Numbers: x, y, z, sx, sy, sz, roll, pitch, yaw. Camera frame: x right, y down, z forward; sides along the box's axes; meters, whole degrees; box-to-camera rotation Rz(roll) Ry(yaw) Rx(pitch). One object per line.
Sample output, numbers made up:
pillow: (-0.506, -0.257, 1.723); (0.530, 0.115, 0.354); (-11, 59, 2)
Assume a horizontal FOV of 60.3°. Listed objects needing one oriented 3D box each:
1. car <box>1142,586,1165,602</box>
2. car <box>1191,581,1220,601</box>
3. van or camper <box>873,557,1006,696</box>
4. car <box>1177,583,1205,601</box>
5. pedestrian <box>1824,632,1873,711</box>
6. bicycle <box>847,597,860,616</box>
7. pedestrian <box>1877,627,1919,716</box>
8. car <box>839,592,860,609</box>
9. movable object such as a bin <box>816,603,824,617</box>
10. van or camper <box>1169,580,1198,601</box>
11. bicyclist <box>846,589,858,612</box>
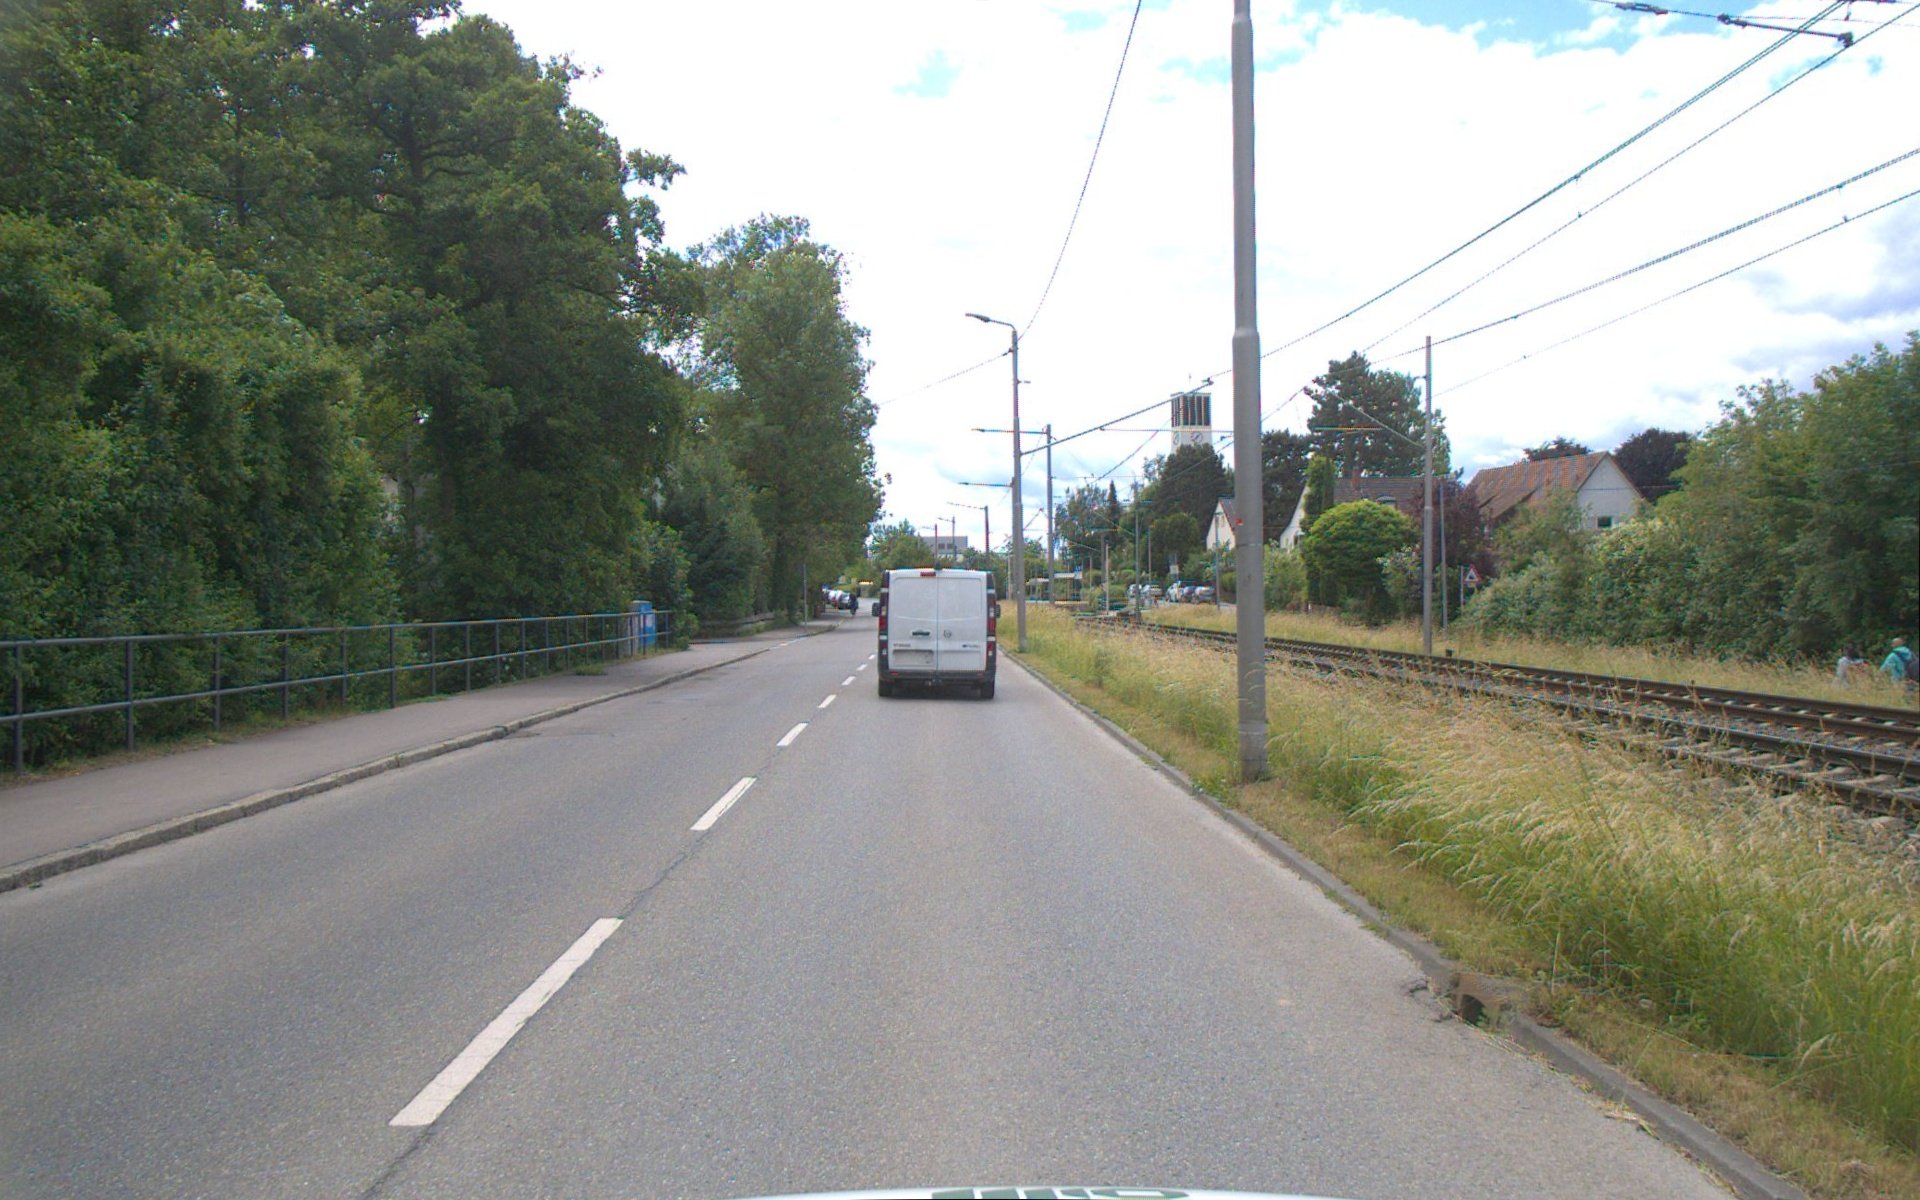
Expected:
car: (19.922, -0.630, 170.292); (1.845, 1.548, 4.000); (-1, 0, 0)
car: (20.423, -0.755, 137.651); (1.845, 1.548, 4.000); (-1, 0, 0)
van or camper: (-0.328, 0.402, 26.793); (1.953, 2.049, 4.445); (1, 0, -1)
car: (20.091, -0.677, 143.678); (1.845, 1.548, 4.000); (-1, 0, 0)
pedestrian: (16.858, 1.348, 31.396); (0.585, 1.455, 0.667); (1, 0, 3)
bicycle: (-7.351, 0.472, 113.862); (0.740, 1.248, 2.308); (-2, 0, -1)
pedestrian: (17.821, 1.338, 31.286); (0.604, 1.650, 0.584); (1, 0, -1)
car: (-10.658, 0.065, 159.180); (1.704, 1.531, 4.470); (-3, 1, -7)
movable object such as a bin: (-9.539, 0.671, 112.348); (0.503, 0.961, 0.568); (0, 0, -2)
van or camper: (19.993, -0.861, 148.277); (1.866, 1.858, 5.047); (-1, 0, 0)
bicyclist: (-7.450, 0.055, 114.039); (0.762, 1.576, 0.869); (-1, 0, -2)
